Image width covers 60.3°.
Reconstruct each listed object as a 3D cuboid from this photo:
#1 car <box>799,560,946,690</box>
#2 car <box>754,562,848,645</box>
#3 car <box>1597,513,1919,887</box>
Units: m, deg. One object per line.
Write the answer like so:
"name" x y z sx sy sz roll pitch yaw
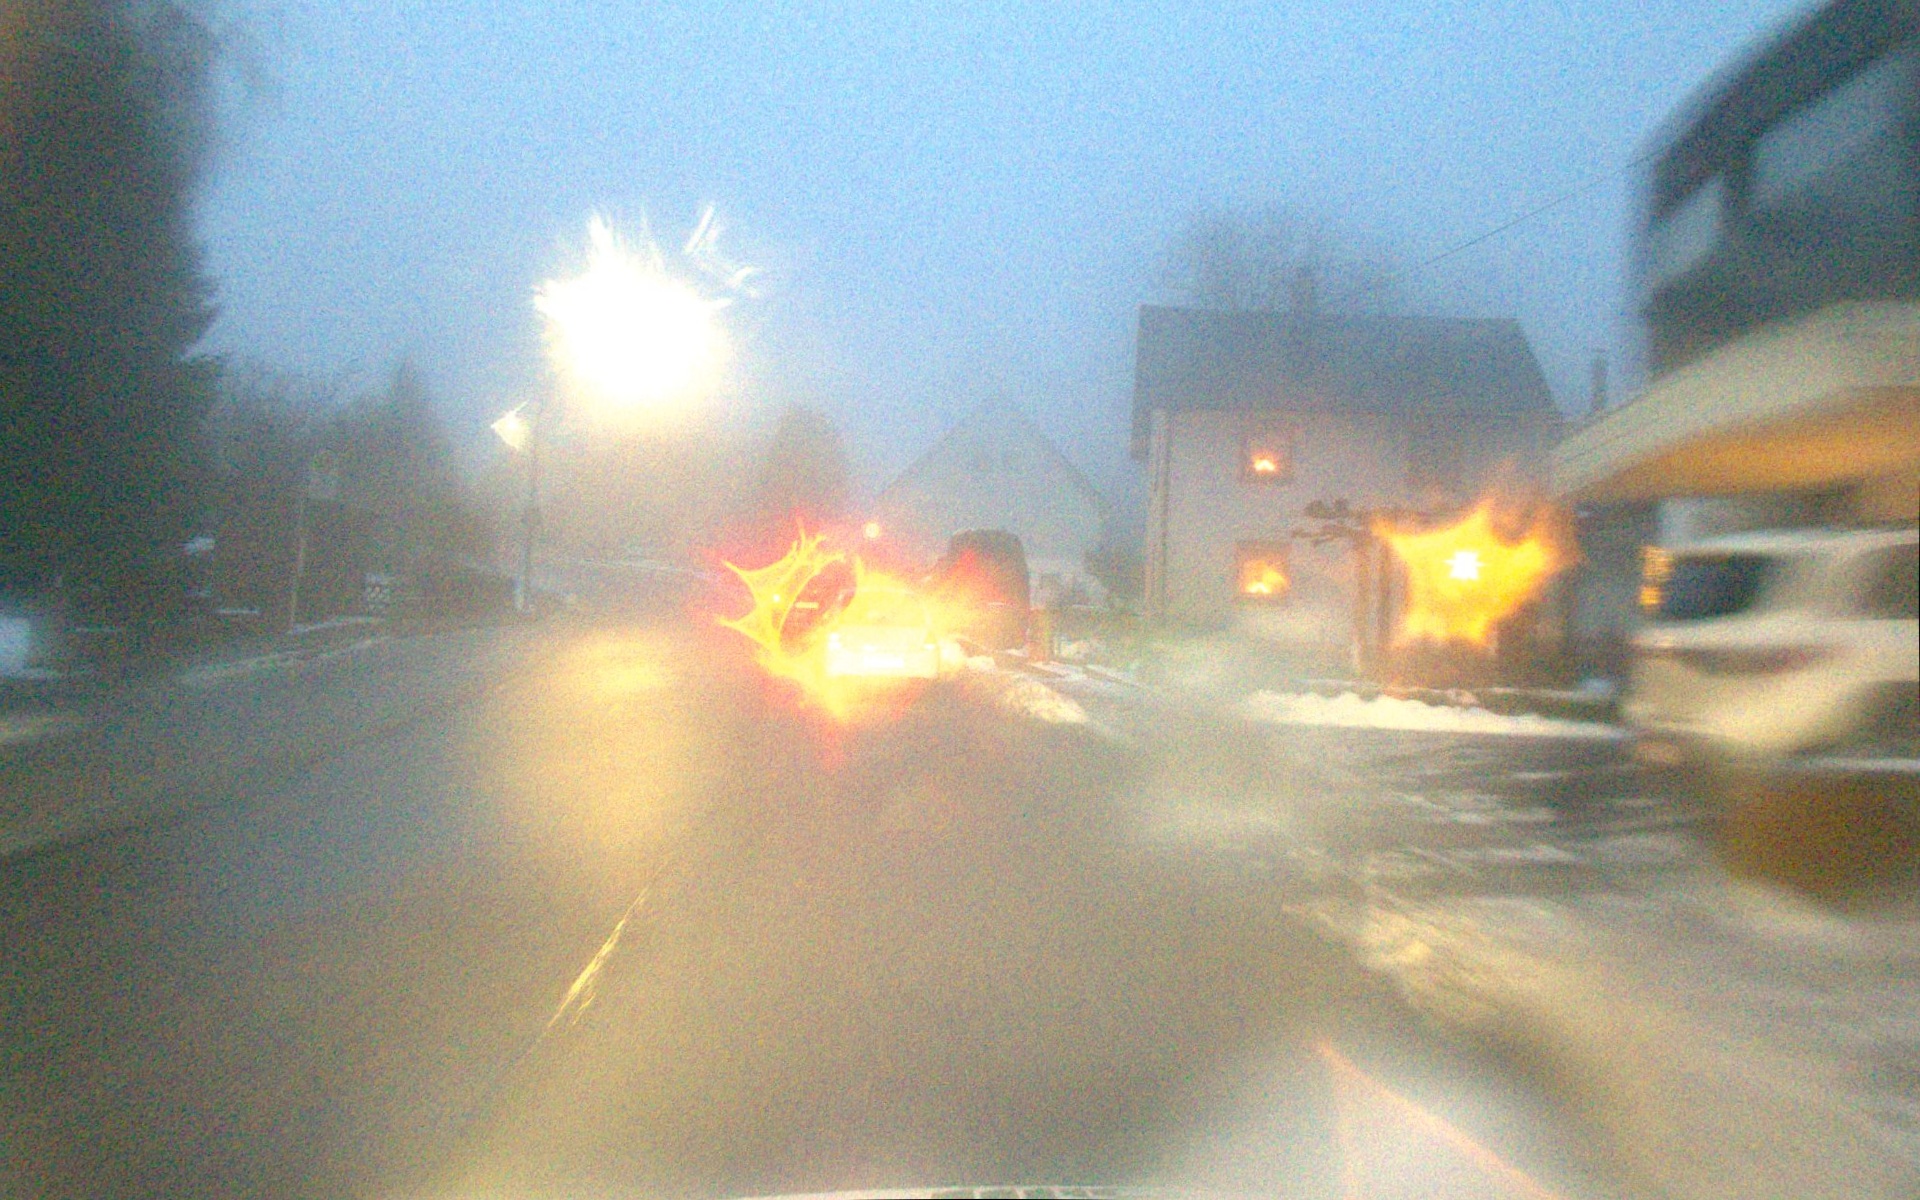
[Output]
"car" -1.236 0.326 23.132 1.860 1.637 3.997 1 0 -4
"car" -3.674 0.089 37.670 1.956 1.767 3.872 1 0 -8
"car" 5.964 0.524 9.244 4.117 1.891 1.912 1 0 5
